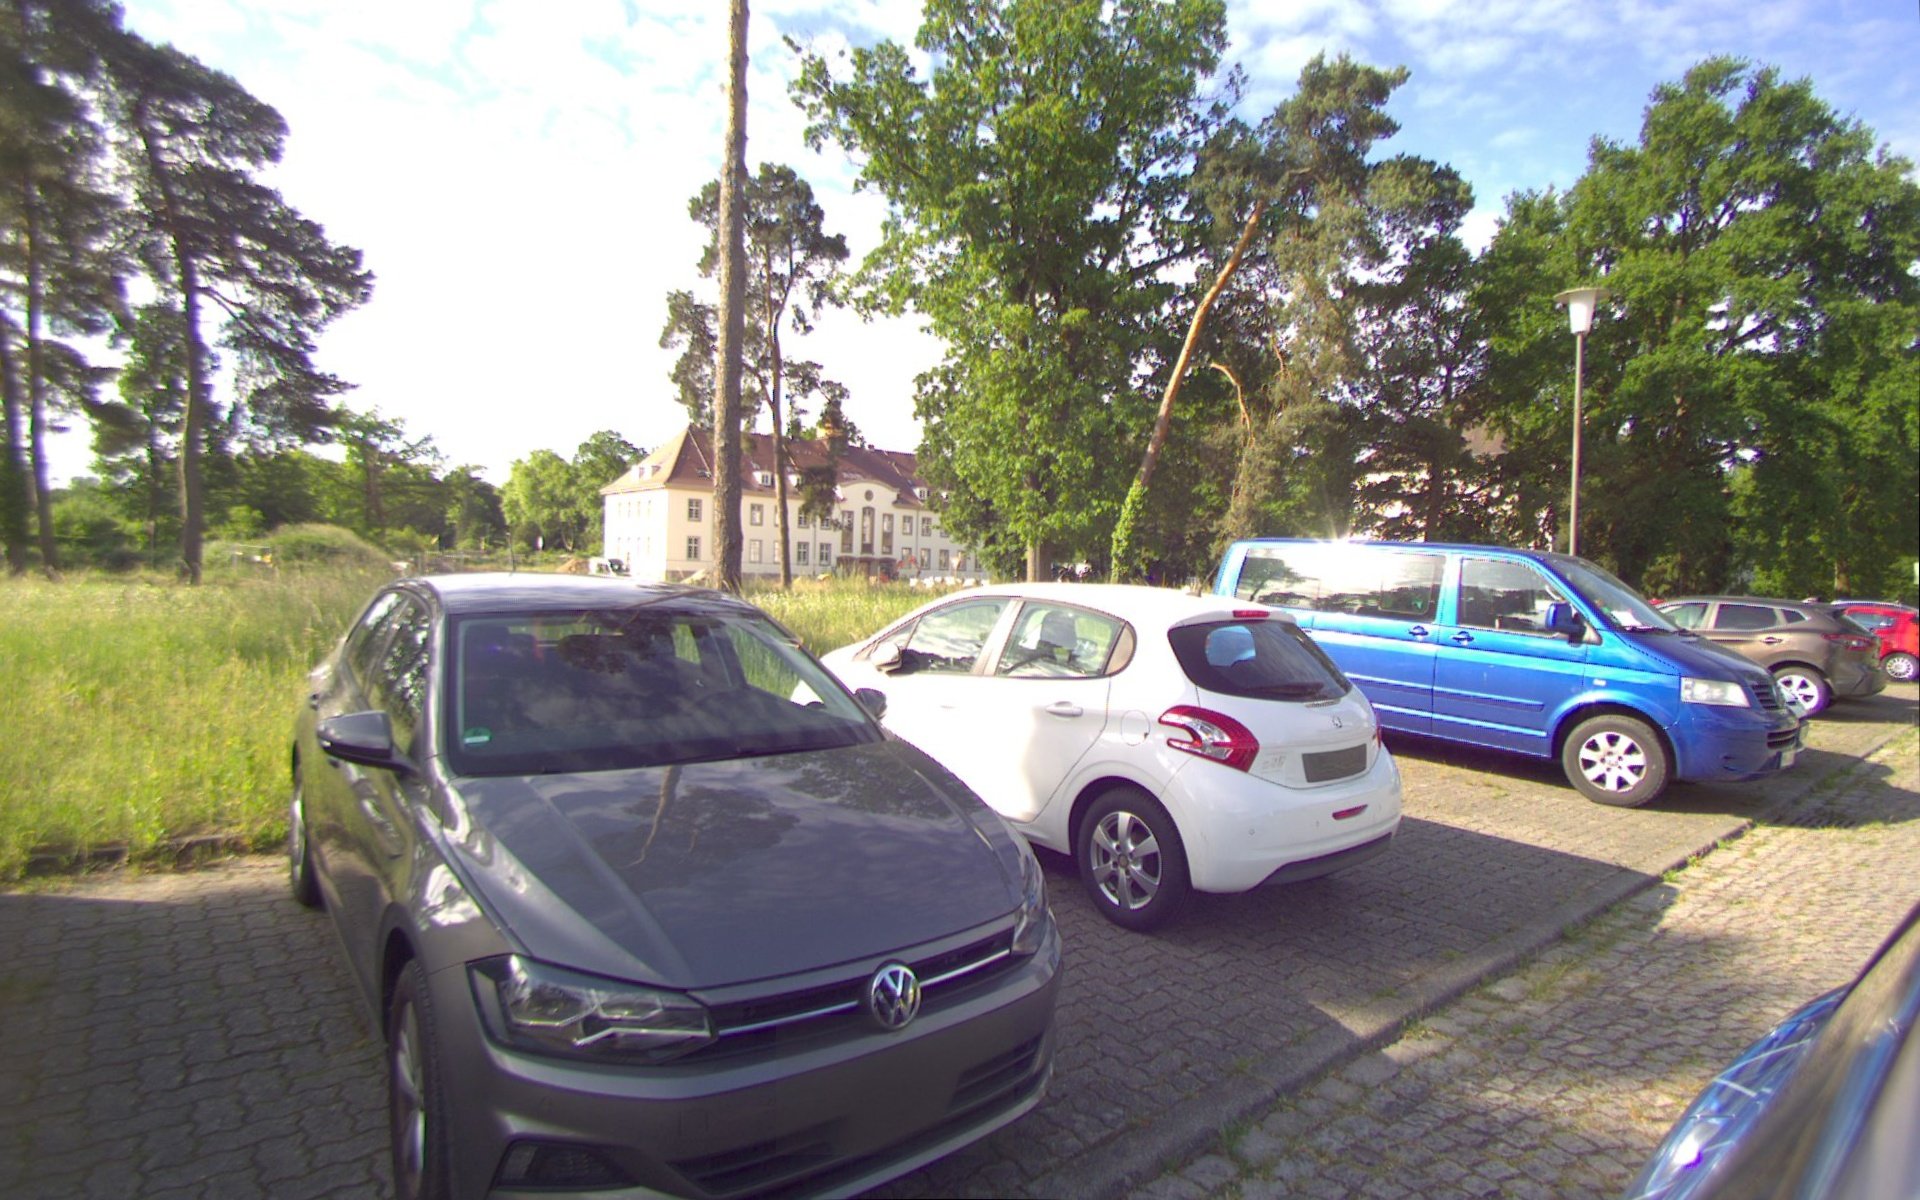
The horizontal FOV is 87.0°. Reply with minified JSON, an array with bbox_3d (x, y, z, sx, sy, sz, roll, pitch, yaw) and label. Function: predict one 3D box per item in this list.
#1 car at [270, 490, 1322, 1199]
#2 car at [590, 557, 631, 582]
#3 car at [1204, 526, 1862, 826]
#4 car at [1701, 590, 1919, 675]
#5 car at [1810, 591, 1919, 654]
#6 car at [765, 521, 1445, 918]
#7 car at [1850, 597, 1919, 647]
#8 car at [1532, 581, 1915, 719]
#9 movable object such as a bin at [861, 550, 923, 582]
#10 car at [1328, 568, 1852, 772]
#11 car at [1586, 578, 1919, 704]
[{"bbox_3d":[-1.001,0.481,3.385,1.823,1.466,3.717,1,3,-39],"label":"car"},{"bbox_3d":[-32.967,-2.862,95.374,1.967,2.240,4.423,0,0,-44],"label":"car"},{"bbox_3d":[4.767,0.375,9.107,1.965,1.959,4.710,0,3,-40],"label":"car"},{"bbox_3d":[18.728,0.653,21.806,1.821,1.477,4.096,1,3,-41],"label":"car"},{"bbox_3d":[26.541,0.666,28.188,1.821,1.576,4.096,1,3,-41],"label":"car"},{"bbox_3d":[0.550,0.368,5.947,1.729,1.553,3.717,1,3,-39],"label":"car"},{"bbox_3d":[30.164,0.762,31.031,1.754,1.440,4.096,1,3,-41],"label":"car"},{"bbox_3d":[11.149,0.593,15.013,1.902,1.617,4.232,0,3,-42],"label":"car"},{"bbox_3d":[-7.427,-3.638,110.573,6.338,3.342,2.862,0,0,7],"label":"movable object such as a bin"},{"bbox_3d":[6.555,0.551,10.976,1.905,1.596,4.408,0,3,-40],"label":"car"},{"bbox_3d":[13.127,0.547,16.814,1.902,1.617,4.233,0,4,-42],"label":"car"}]
